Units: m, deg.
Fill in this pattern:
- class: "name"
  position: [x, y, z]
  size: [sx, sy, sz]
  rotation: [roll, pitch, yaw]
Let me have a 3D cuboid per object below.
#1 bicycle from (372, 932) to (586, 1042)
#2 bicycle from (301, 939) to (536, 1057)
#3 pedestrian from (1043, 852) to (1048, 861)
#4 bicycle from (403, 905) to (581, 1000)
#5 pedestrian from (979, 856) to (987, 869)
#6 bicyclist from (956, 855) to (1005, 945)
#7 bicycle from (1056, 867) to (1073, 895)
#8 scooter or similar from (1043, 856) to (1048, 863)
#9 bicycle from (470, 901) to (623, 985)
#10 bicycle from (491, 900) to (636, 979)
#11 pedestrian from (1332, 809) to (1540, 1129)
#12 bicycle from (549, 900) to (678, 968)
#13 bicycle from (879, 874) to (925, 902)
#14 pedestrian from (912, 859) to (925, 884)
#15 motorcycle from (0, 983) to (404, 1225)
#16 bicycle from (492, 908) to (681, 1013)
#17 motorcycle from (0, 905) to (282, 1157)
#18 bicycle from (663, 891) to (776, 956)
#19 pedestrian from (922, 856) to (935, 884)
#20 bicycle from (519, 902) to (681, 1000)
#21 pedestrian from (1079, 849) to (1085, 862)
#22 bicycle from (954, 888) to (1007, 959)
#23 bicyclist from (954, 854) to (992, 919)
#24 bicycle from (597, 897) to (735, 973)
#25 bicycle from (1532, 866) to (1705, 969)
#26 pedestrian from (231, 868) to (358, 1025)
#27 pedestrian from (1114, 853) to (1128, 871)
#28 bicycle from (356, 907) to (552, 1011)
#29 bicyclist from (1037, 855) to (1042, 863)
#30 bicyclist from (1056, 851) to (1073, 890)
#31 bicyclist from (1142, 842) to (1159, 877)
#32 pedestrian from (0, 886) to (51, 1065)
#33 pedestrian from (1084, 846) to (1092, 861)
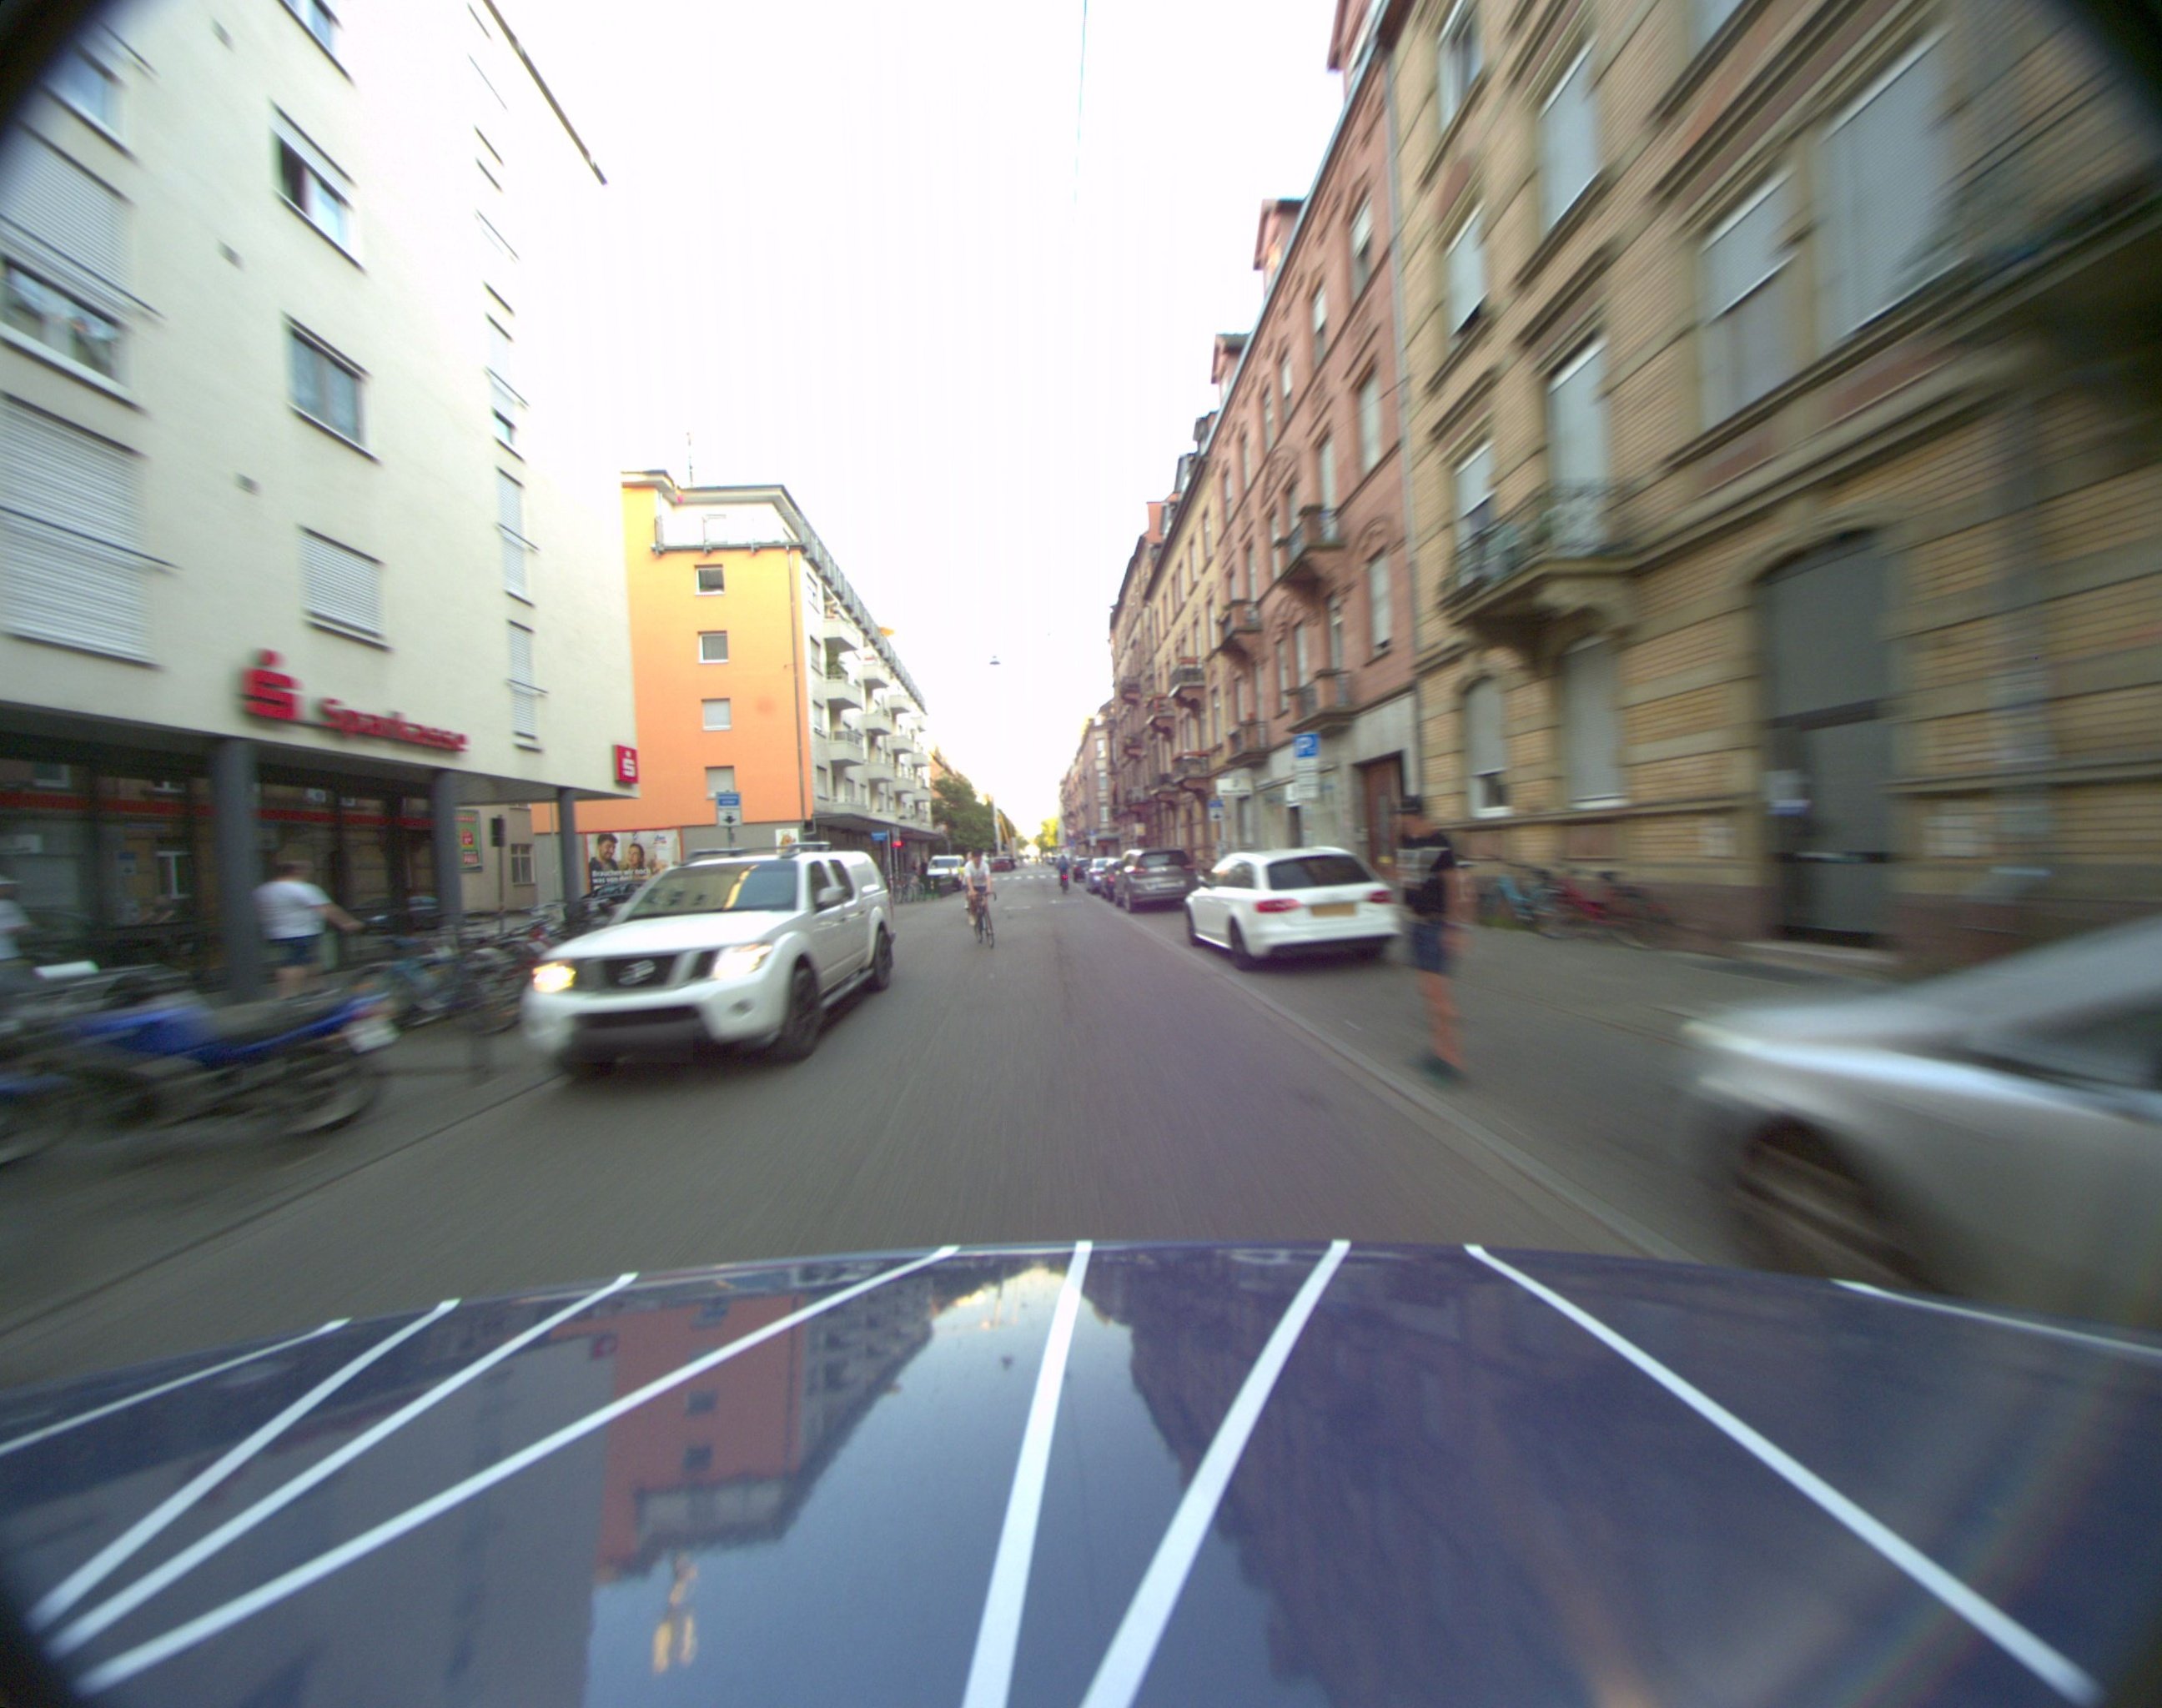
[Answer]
- class: "bicycle"
  position: [-6.321, 1.383, 8.045]
  size: [1.724, 1.025, 0.667]
  rotation: [1, 1, 0]
- class: "bicycle"
  position: [-6.410, 1.383, 7.404]
  size: [1.777, 1.016, 0.565]
  rotation: [1, 1, 0]
- class: "pedestrian"
  position: [-6.187, 0.428, 132.095]
  size: [0.809, 1.650, 0.672]
  rotation: [-2, 0, -5]
- class: "bicycle"
  position: [-7.668, 1.263, 9.963]
  size: [1.727, 1.111, 0.653]
  rotation: [-1, 1, -6]
- class: "pedestrian"
  position: [-11.620, 1.013, 90.220]
  size: [0.538, 1.597, 0.870]
  rotation: [-3, -1, 23]
- class: "bicyclist"
  position: [-1.777, 0.794, 13.541]
  size: [0.650, 1.500, 0.953]
  rotation: [-4, 2, -1]
- class: "bicycle"
  position: [-0.696, 1.125, 32.292]
  size: [0.646, 1.074, 2.168]
  rotation: [-1, 0, -2]
- class: "scooter or similar"
  position: [-6.166, 0.959, 132.098]
  size: [0.809, 1.097, 1.171]
  rotation: [-2, 0, -5]
- class: "bicycle"
  position: [-7.736, 1.280, 11.044]
  size: [1.727, 1.111, 0.653]
  rotation: [-1, 1, 0]
- class: "bicycle"
  position: [-7.873, 1.289, 11.607]
  size: [1.727, 1.111, 0.653]
  rotation: [-1, 1, 0]
- class: "pedestrian"
  position: [2.168, 0.632, 4.749]
  size: [0.556, 1.745, 1.021]
  rotation: [-4, 2, -18]
- class: "bicycle"
  position: [-7.830, 1.331, 12.769]
  size: [1.727, 1.048, 0.653]
  rotation: [-1, 1, 0]
- class: "bicycle"
  position: [-7.403, 1.390, 31.392]
  size: [1.939, 1.128, 0.658]
  rotation: [0, 1, 34]
- class: "pedestrian"
  position: [-11.080, 1.166, 51.679]
  size: [0.710, 1.656, 0.744]
  rotation: [-2, 2, -4]
- class: "motorcycle"
  position: [-5.435, 1.419, 4.453]
  size: [2.066, 1.072, 0.663]
  rotation: [-1, 1, -18]
- class: "bicycle"
  position: [-6.103, 1.298, 9.451]
  size: [1.873, 1.175, 0.743]
  rotation: [1, 1, 2]
- class: "motorcycle"
  position: [-7.244, 1.170, 5.258]
  size: [2.498, 1.540, 0.823]
  rotation: [-1, 1, 0]
- class: "bicycle"
  position: [-6.688, 1.276, 14.103]
  size: [1.727, 1.111, 0.707]
  rotation: [-1, 1, 0]
- class: "pedestrian"
  position: [-10.349, 1.094, 51.499]
  size: [0.710, 1.818, 0.860]
  rotation: [-2, 2, -4]
- class: "bicycle"
  position: [-6.491, 1.291, 10.297]
  size: [1.792, 1.175, 0.734]
  rotation: [1, 1, 7]
- class: "pedestrian"
  position: [0.137, 0.193, 110.920]
  size: [0.748, 1.733, 1.213]
  rotation: [-4, 1, 5]
- class: "bicycle"
  position: [-1.758, 1.197, 13.533]
  size: [0.658, 1.012, 1.917]
  rotation: [-4, 1, -1]
- class: "bicyclist"
  position: [-2.764, 0.824, 19.441]
  size: [0.794, 1.562, 0.825]
  rotation: [-4, 0, -12]
- class: "bicycle"
  position: [-6.755, 1.307, 12.442]
  size: [1.814, 1.111, 0.706]
  rotation: [-1, 1, -5]
- class: "bicycle"
  position: [6.064, 0.666, 8.689]
  size: [0.594, 1.021, 1.623]
  rotation: [-4, 0, -11]
- class: "pedestrian"
  position: [-9.197, 1.033, 8.932]
  size: [0.915, 1.713, 0.774]
  rotation: [0, -1, -37]
- class: "pedestrian"
  position: [3.056, 0.621, 57.998]
  size: [0.650, 1.247, 0.907]
  rotation: [-6, 0, -18]
- class: "bicycle"
  position: [-7.577, 1.252, 9.246]
  size: [1.727, 1.111, 0.653]
  rotation: [-1, 1, -6]
- class: "bicyclist"
  position: [-9.033, 1.092, 166.189]
  size: [0.755, 1.630, 1.200]
  rotation: [-3, 0, -9]
- class: "bicyclist"
  position: [-0.710, 0.710, 32.277]
  size: [0.646, 1.611, 0.918]
  rotation: [-1, 0, -2]
- class: "bicyclist"
  position: [3.539, 0.267, 38.693]
  size: [0.709, 1.720, 0.843]
  rotation: [-3, 2, 8]
- class: "pedestrian"
  position: [-10.692, 1.179, 7.347]
  size: [0.663, 1.713, 0.663]
  rotation: [-2, -1, 16]
- class: "pedestrian"
  position: [0.883, -0.049, 96.177]
  size: [0.655, 1.768, 0.692]
  rotation: [-4, 0, 15]
